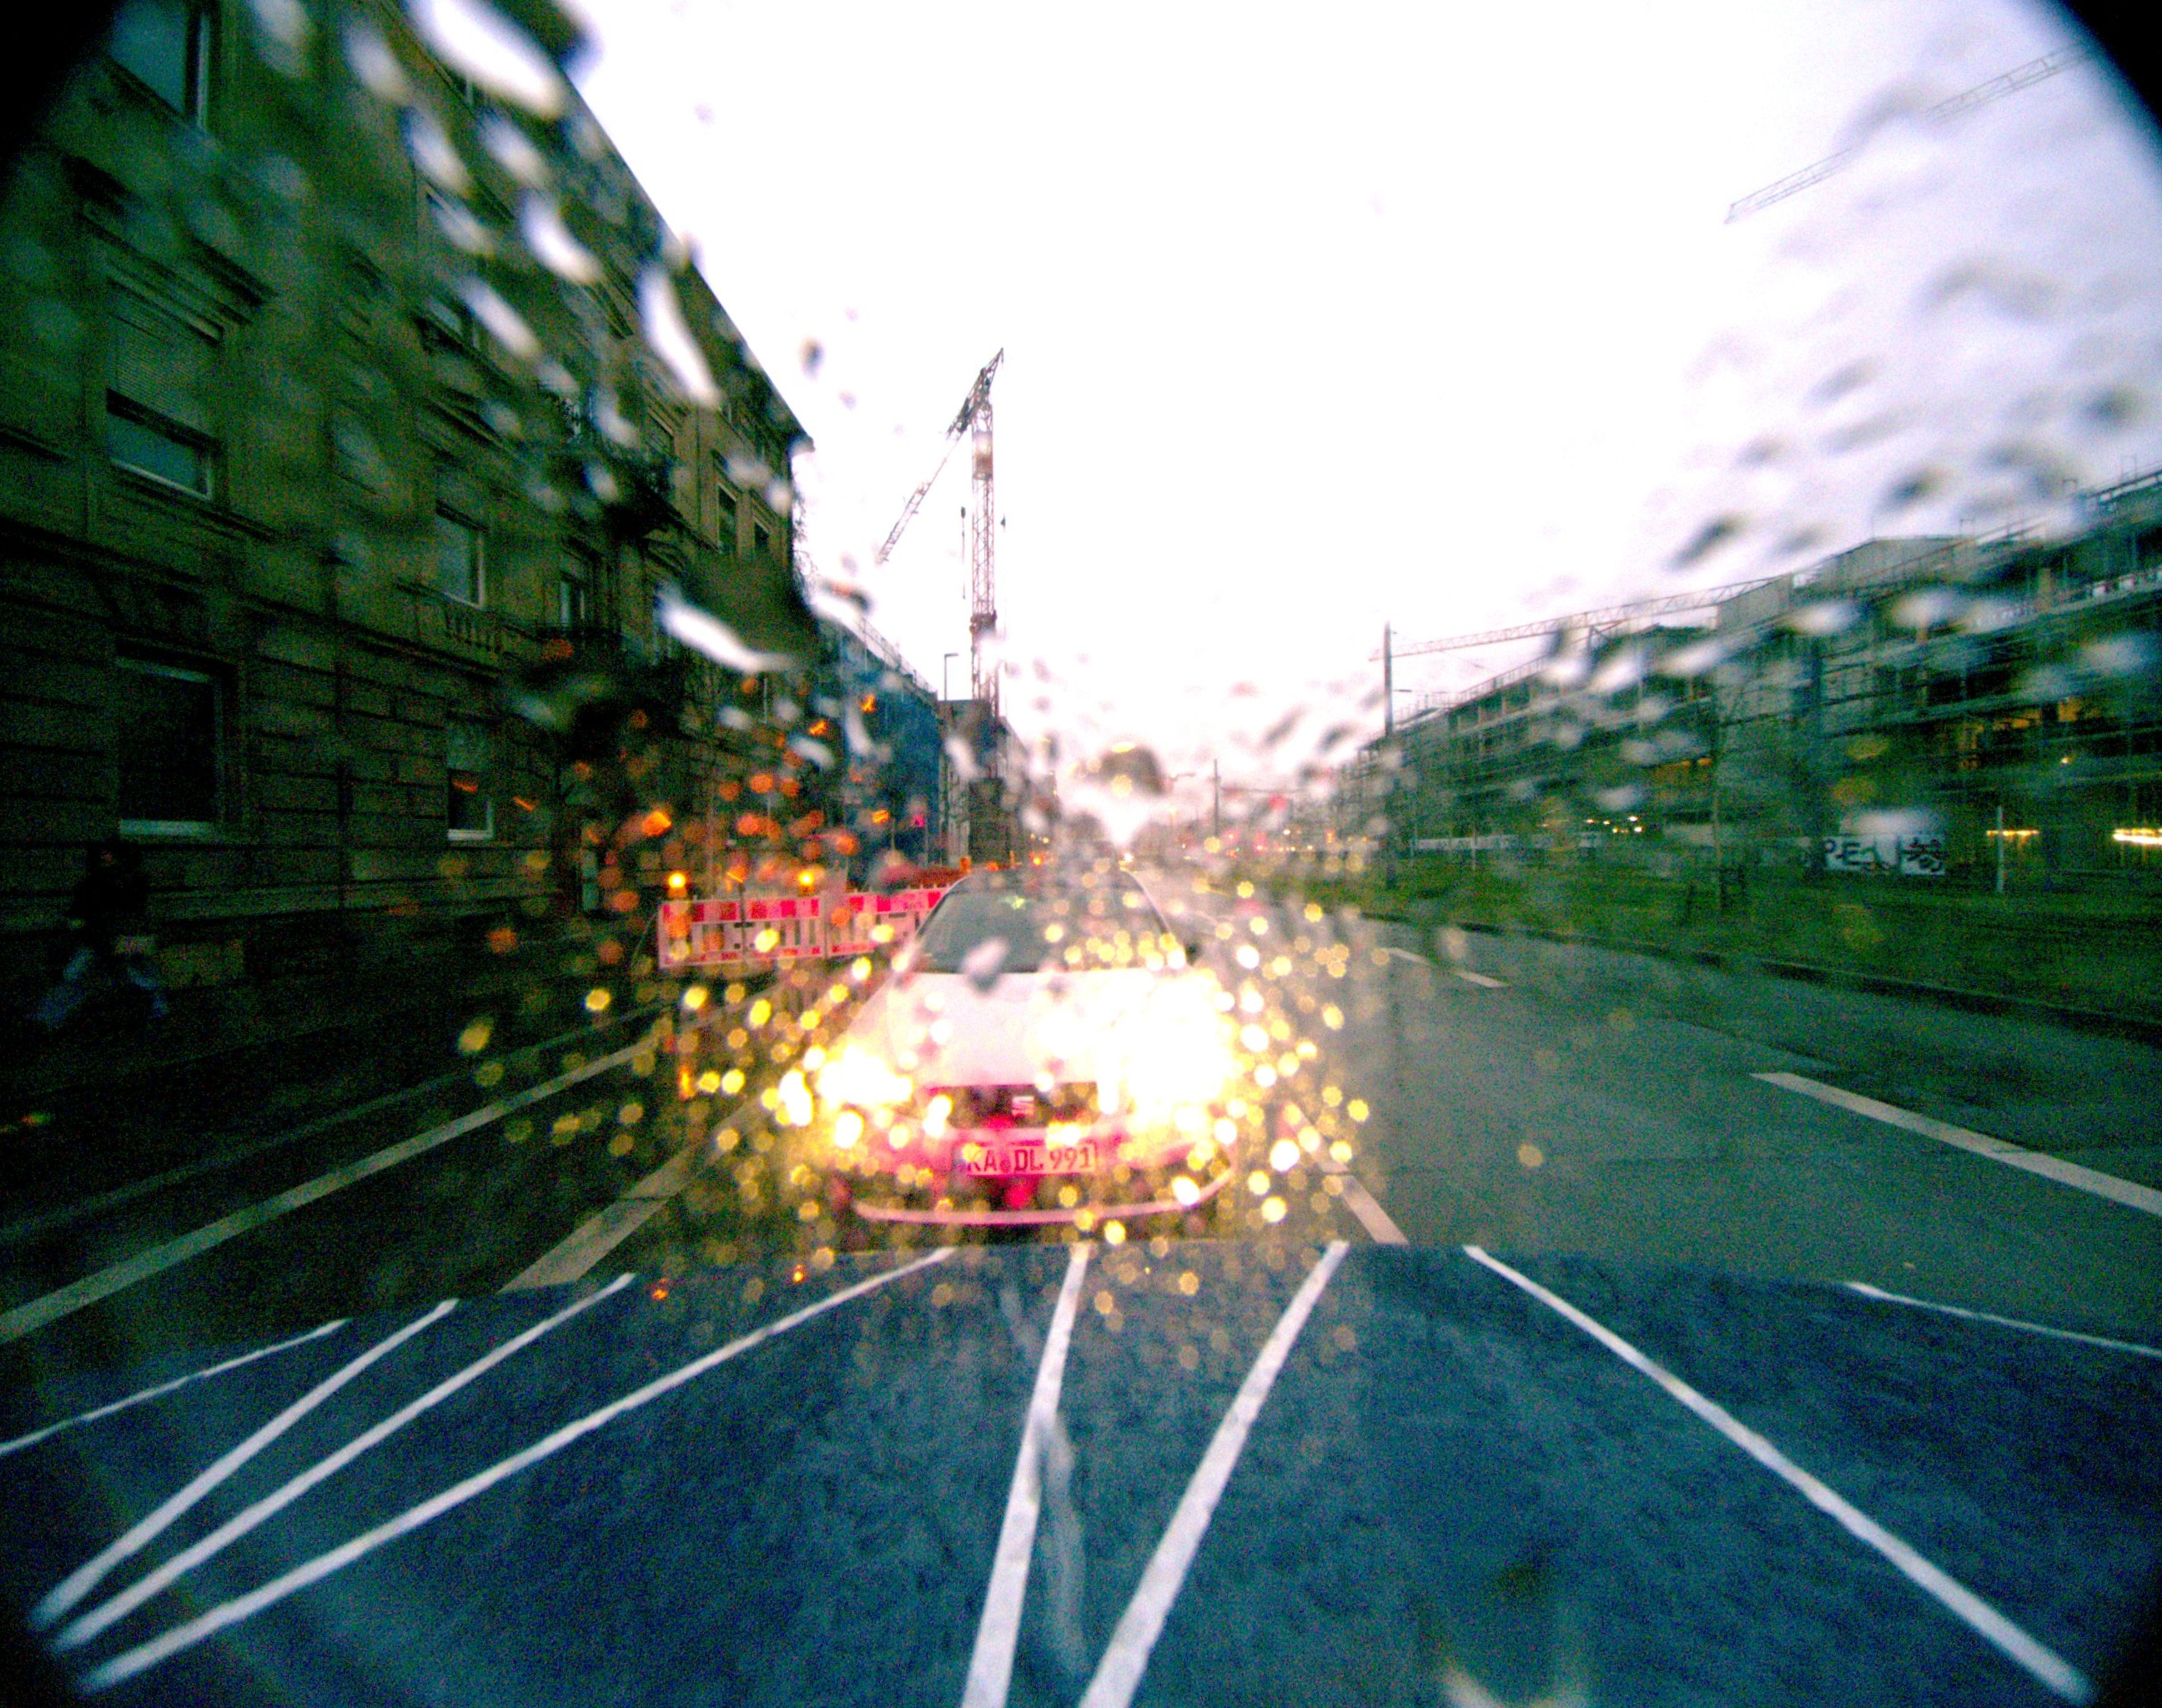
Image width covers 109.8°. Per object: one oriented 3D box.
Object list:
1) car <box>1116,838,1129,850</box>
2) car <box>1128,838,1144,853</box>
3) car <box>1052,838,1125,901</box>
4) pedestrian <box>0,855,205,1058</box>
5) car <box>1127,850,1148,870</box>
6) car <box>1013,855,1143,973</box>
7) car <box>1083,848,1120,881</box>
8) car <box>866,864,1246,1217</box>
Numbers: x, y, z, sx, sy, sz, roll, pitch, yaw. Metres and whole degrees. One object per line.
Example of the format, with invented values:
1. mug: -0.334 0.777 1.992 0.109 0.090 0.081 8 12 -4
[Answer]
1. car: 5.909 -1.384 107.044 1.768 1.614 3.900 -3 1 4
2. car: 6.307 -0.994 87.352 1.768 1.614 3.900 -3 1 4
3. car: 0.171 0.344 21.018 1.769 1.504 3.899 -3 1 0
4. pedestrian: -8.166 0.781 6.225 0.870 1.536 0.929 0 1 1
5. car: 5.134 0.532 69.489 1.768 1.614 3.900 -3 1 4
6. car: -0.050 0.856 12.747 1.769 1.504 3.899 -3 1 0
7. car: 1.034 0.514 40.494 1.769 1.504 3.899 -3 1 0
8. car: -0.123 0.936 5.629 1.769 1.504 3.899 -3 1 0
